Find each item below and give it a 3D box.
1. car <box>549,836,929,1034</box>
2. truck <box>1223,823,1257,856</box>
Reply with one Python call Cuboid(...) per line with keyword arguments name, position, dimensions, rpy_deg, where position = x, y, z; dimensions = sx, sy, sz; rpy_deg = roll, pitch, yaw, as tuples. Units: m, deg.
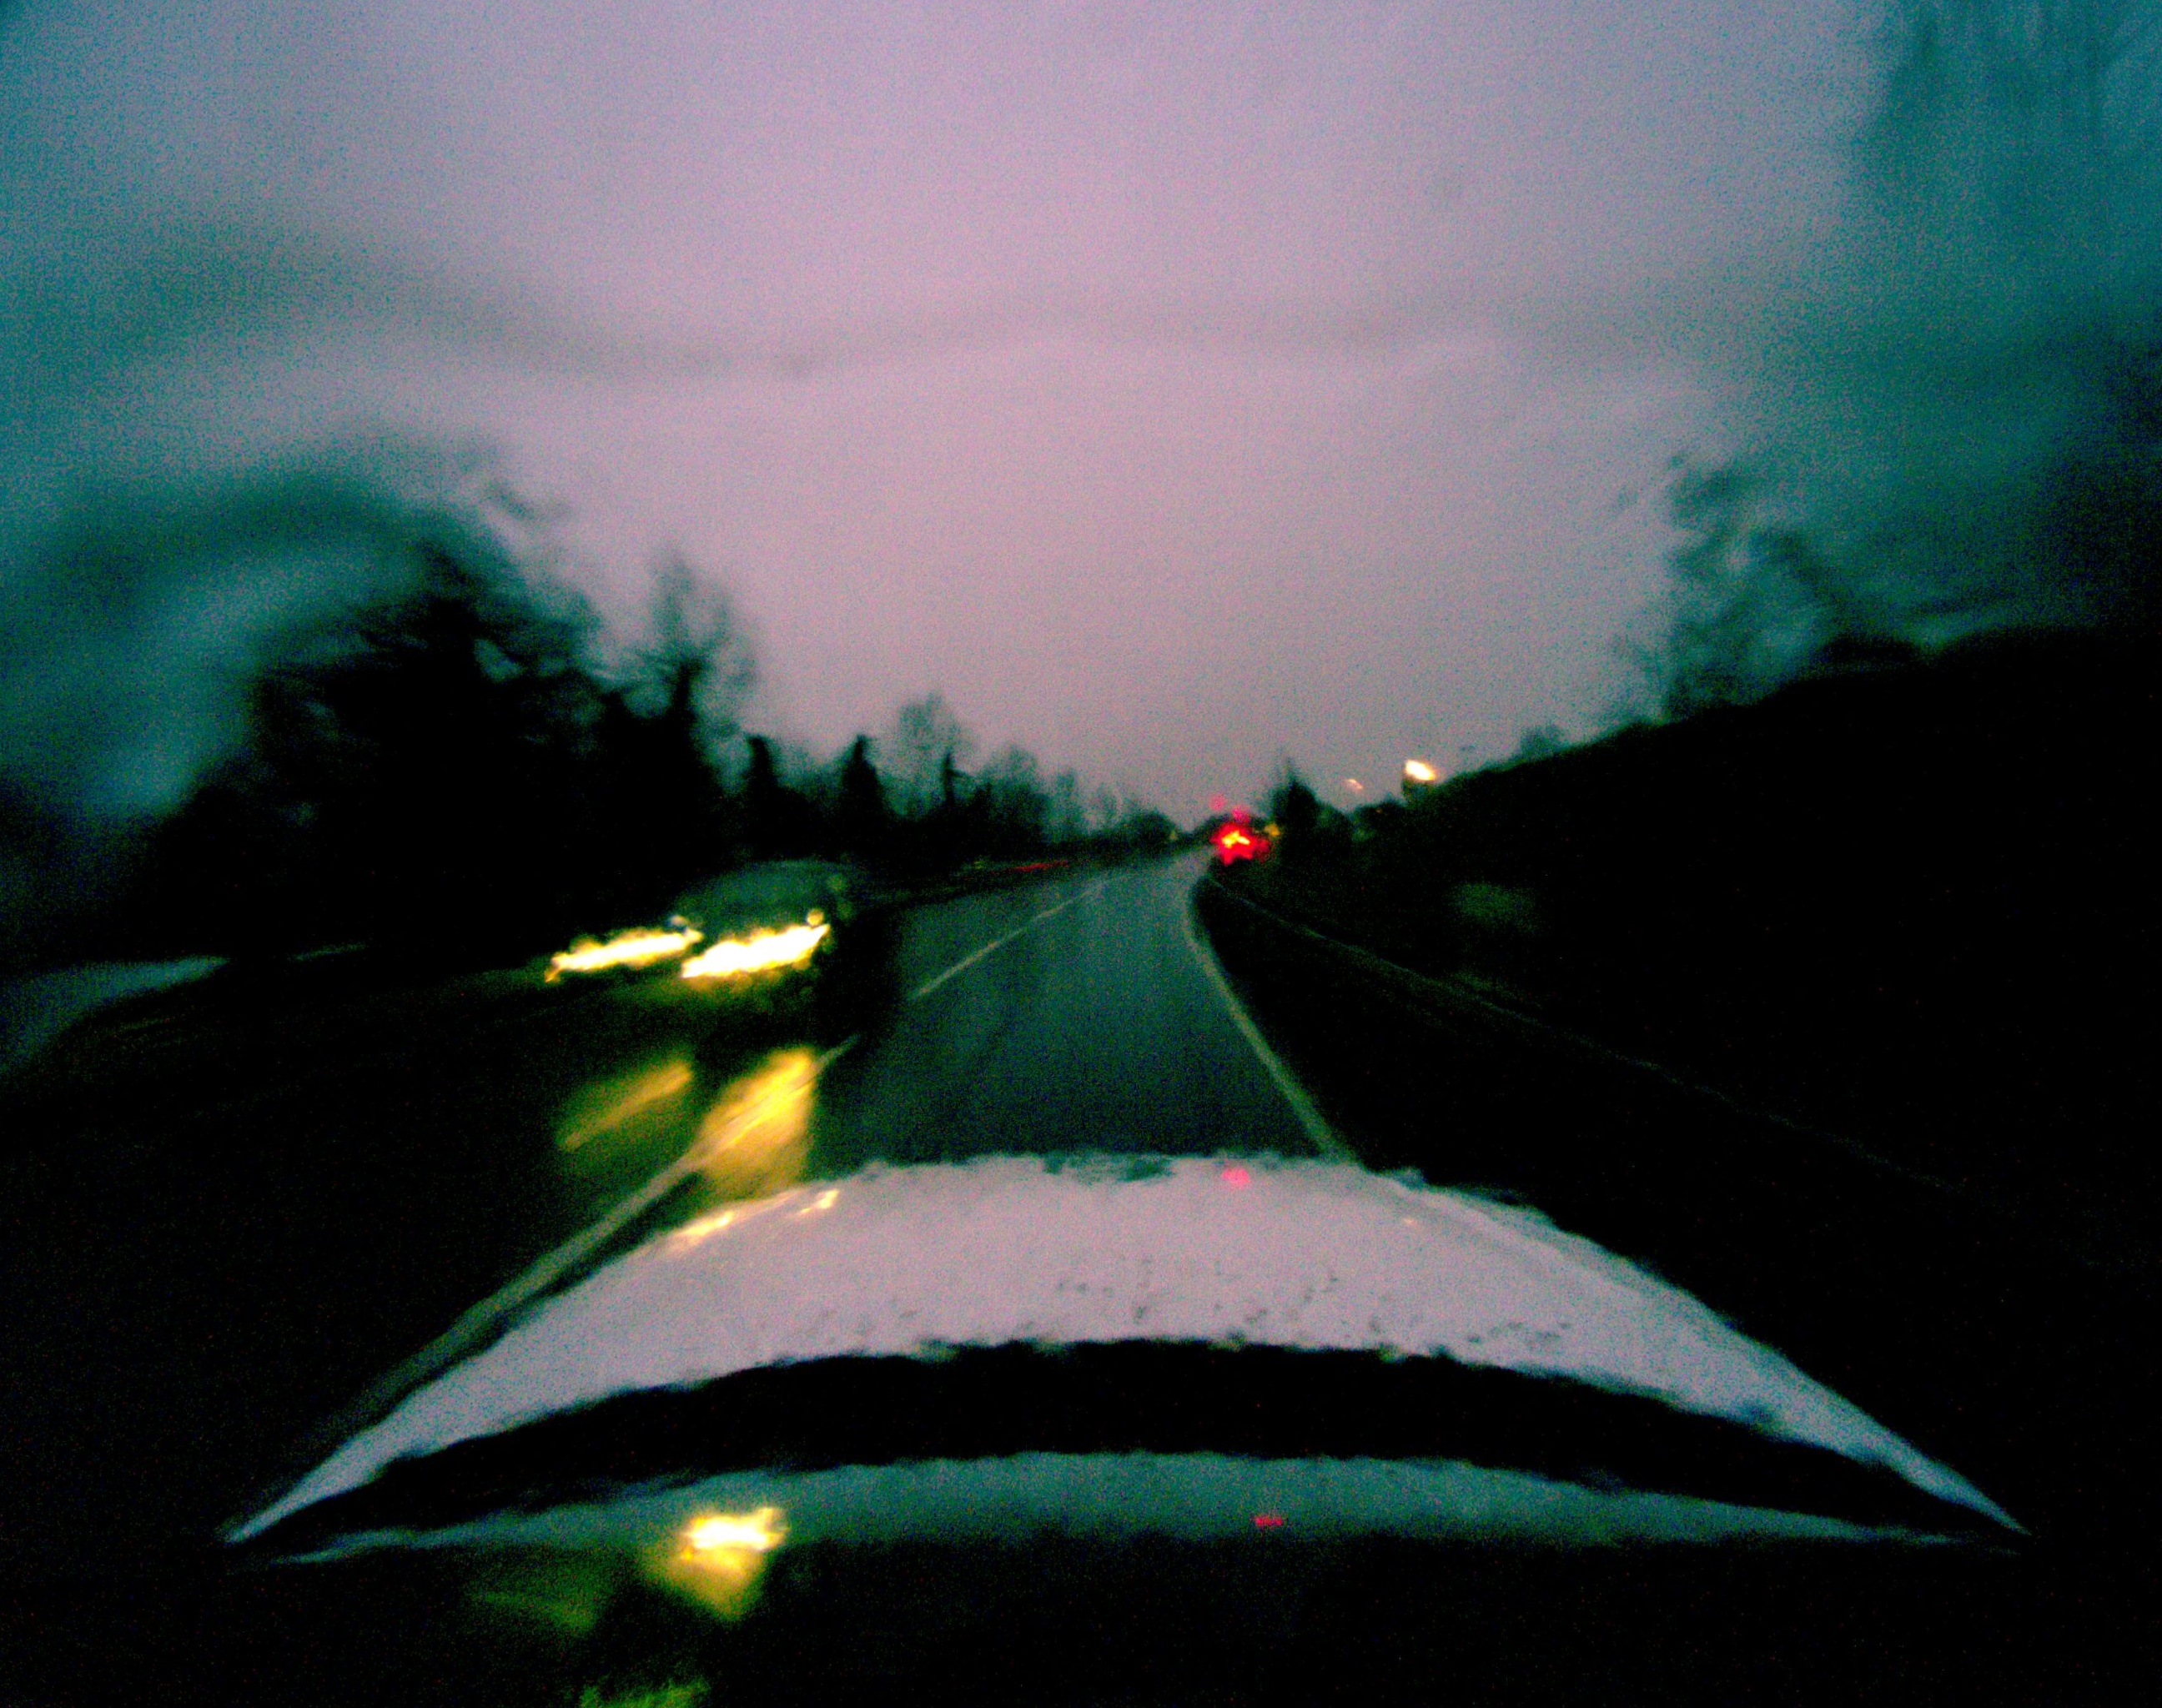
Cuboid(name="car", position=(-3.304, 0.622, 9.100), dimensions=(1.984, 1.621, 4.604), rpy_deg=(0, 1, 5))
Cuboid(name="truck", position=(15.697, -1.456, 80.108), dimensions=(2.512, 2.868, 5.949), rpy_deg=(-5, 0, 17))
